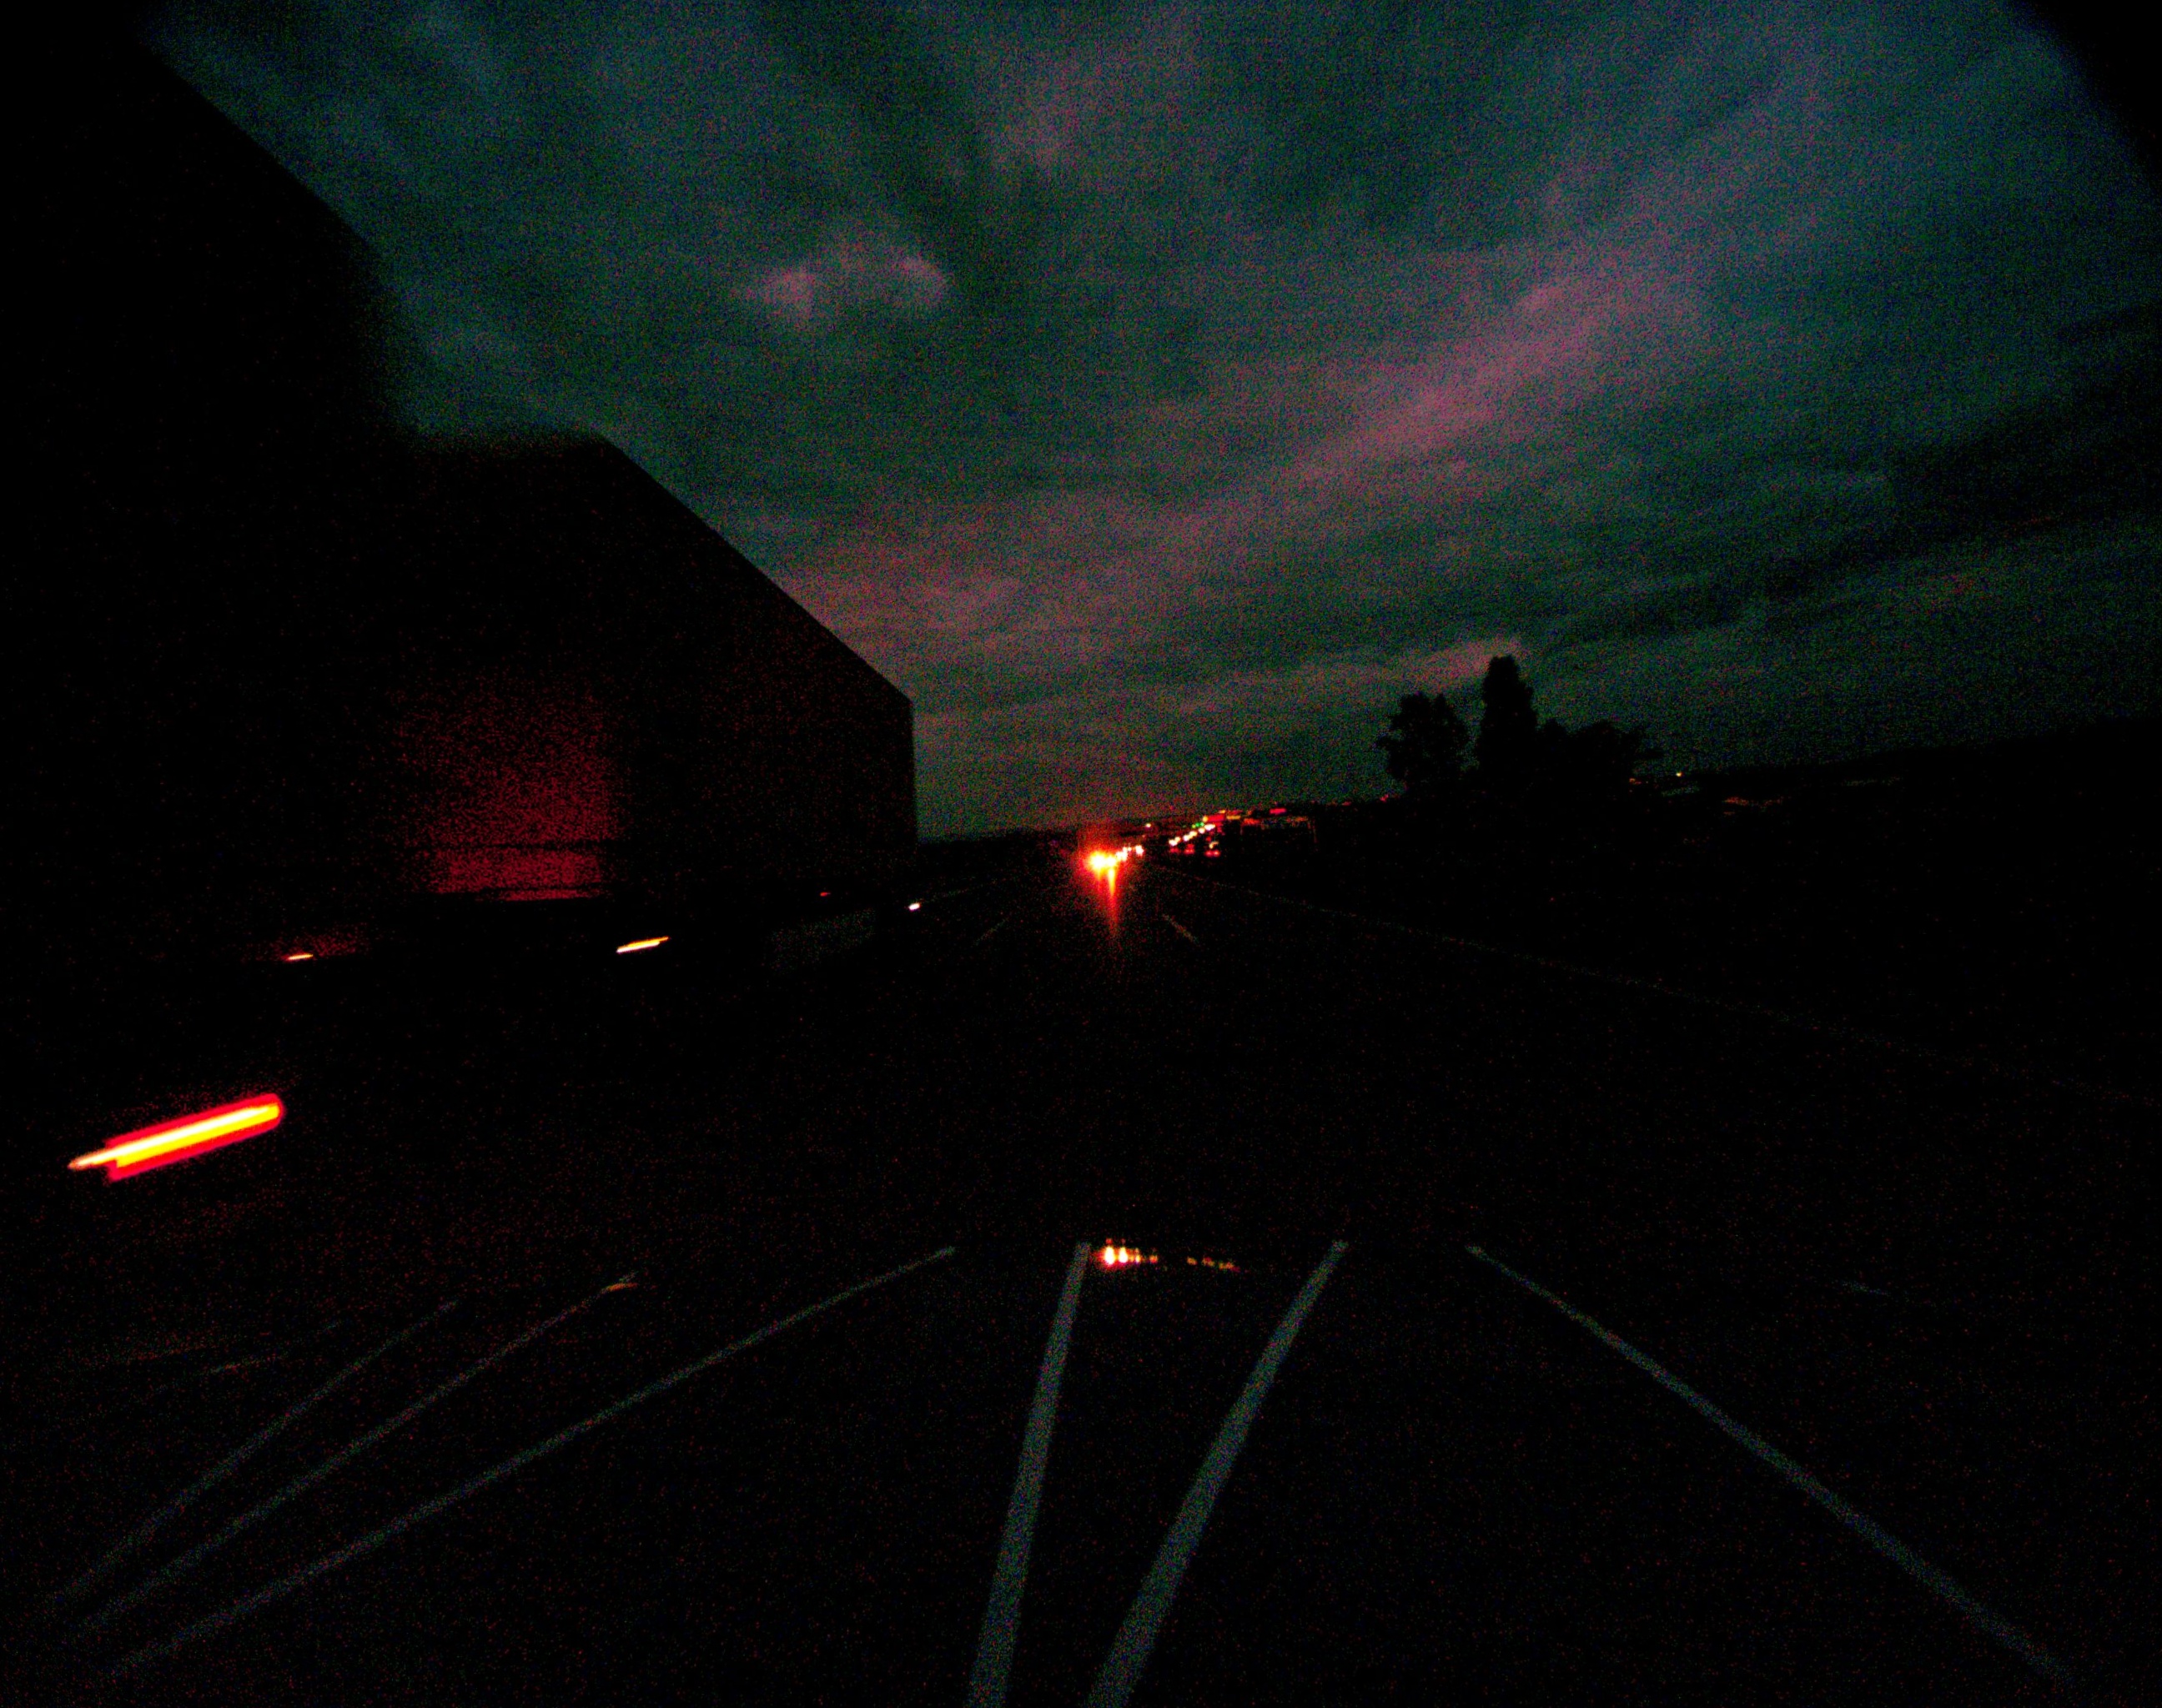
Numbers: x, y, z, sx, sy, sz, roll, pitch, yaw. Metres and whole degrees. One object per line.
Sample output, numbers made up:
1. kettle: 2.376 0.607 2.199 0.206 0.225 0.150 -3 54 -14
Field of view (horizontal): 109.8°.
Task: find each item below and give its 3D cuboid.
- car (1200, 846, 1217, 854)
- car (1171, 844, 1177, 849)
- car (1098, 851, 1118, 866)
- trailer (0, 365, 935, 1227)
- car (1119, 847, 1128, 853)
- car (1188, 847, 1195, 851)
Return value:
1. car: 21.918 -0.713 130.792 1.999 1.395 4.797 -2 0 -1
2. car: 31.026 -2.435 253.478 1.998 1.395 4.330 -2 0 4
3. car: 2.787 0.401 78.108 1.998 1.342 4.175 0 2 3
4. trailer: -3.880 -0.281 8.067 2.728 4.048 8.830 -2 0 1
5. car: 10.984 -0.989 196.162 1.998 1.342 4.176 -4 2 7
6. car: 31.872 -1.384 219.421 1.725 1.220 4.184 -2 0 4
